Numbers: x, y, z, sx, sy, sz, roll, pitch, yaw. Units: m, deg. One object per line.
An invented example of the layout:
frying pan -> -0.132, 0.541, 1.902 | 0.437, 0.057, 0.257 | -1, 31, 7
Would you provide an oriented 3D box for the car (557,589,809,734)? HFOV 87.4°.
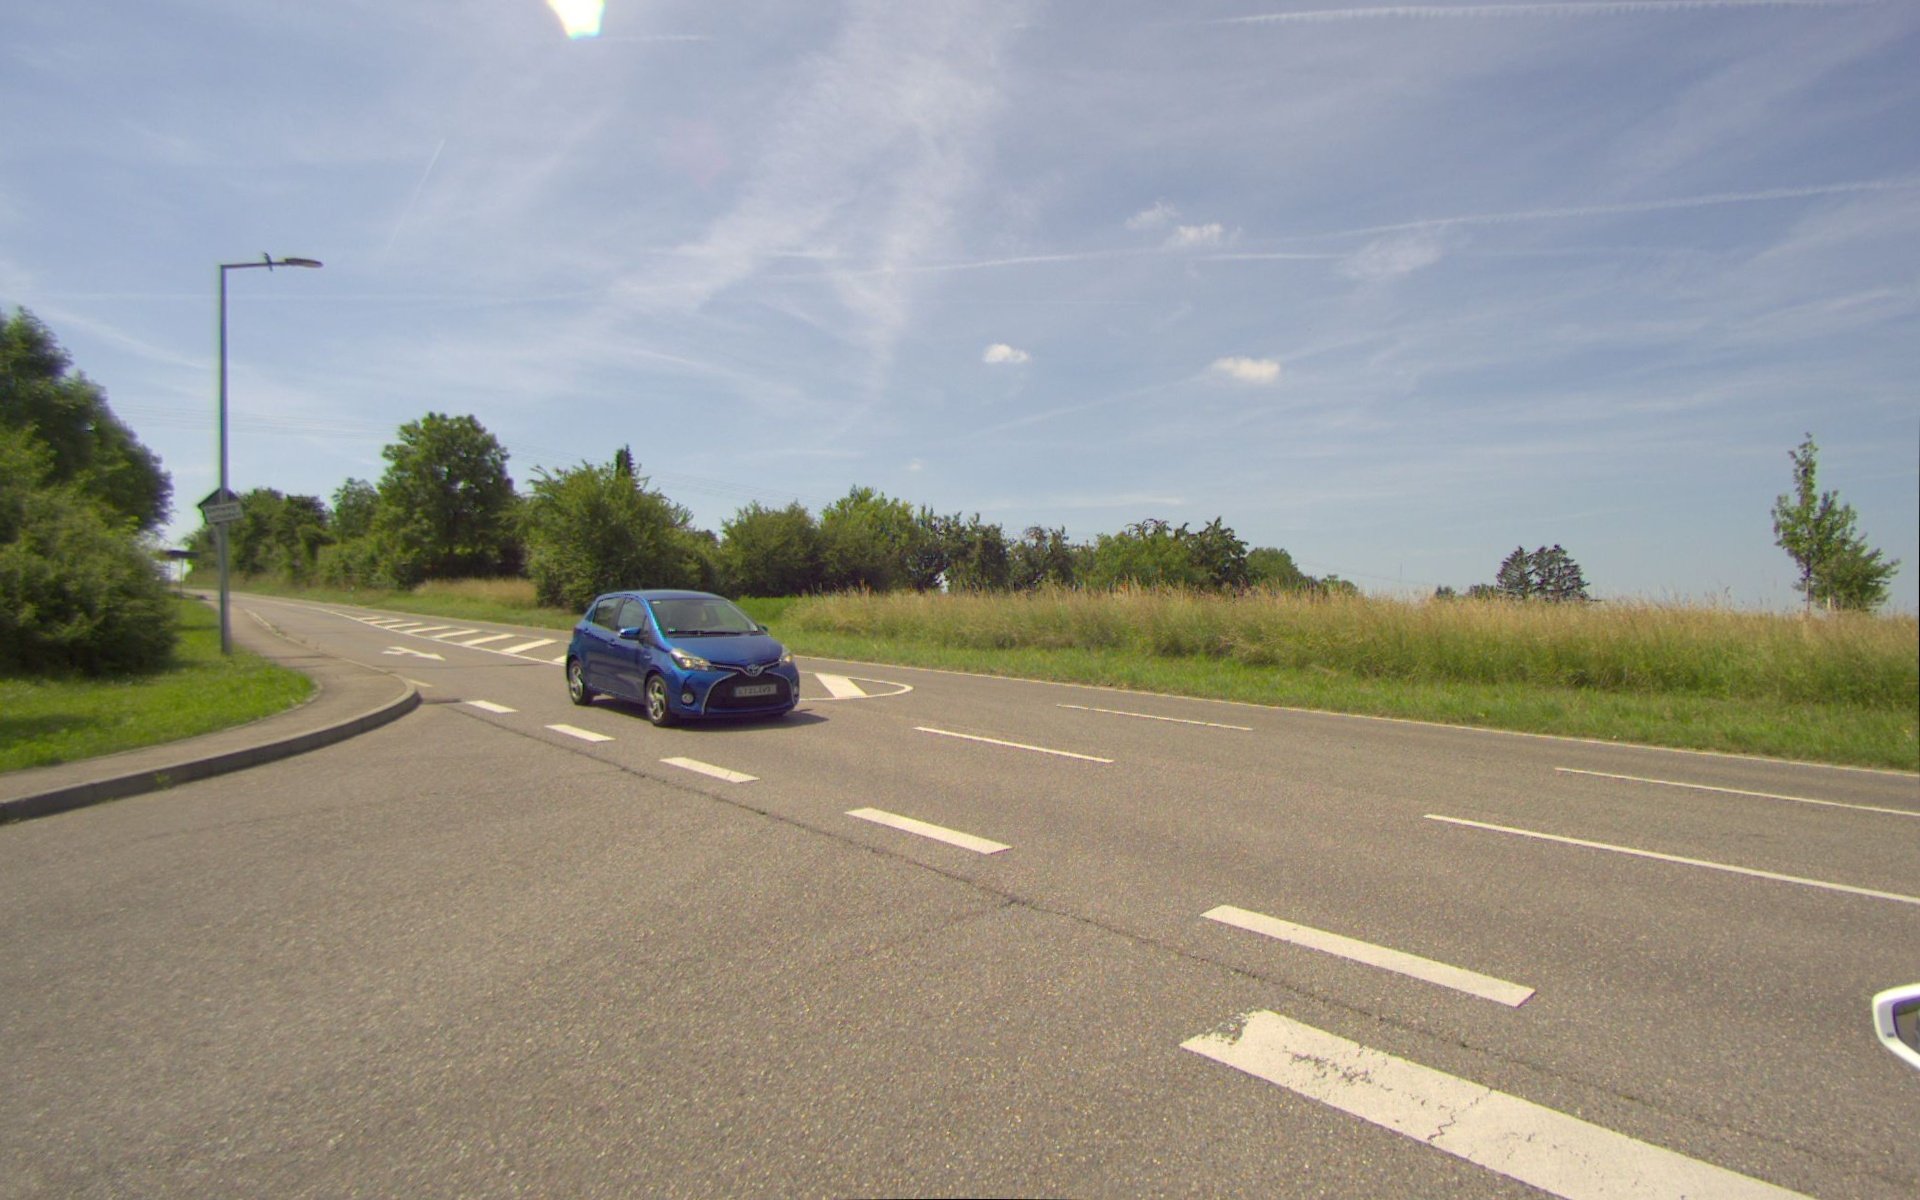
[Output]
car -> -3.599, 0.631, 12.657 | 1.601, 1.512, 3.802 | -1, 2, -41
